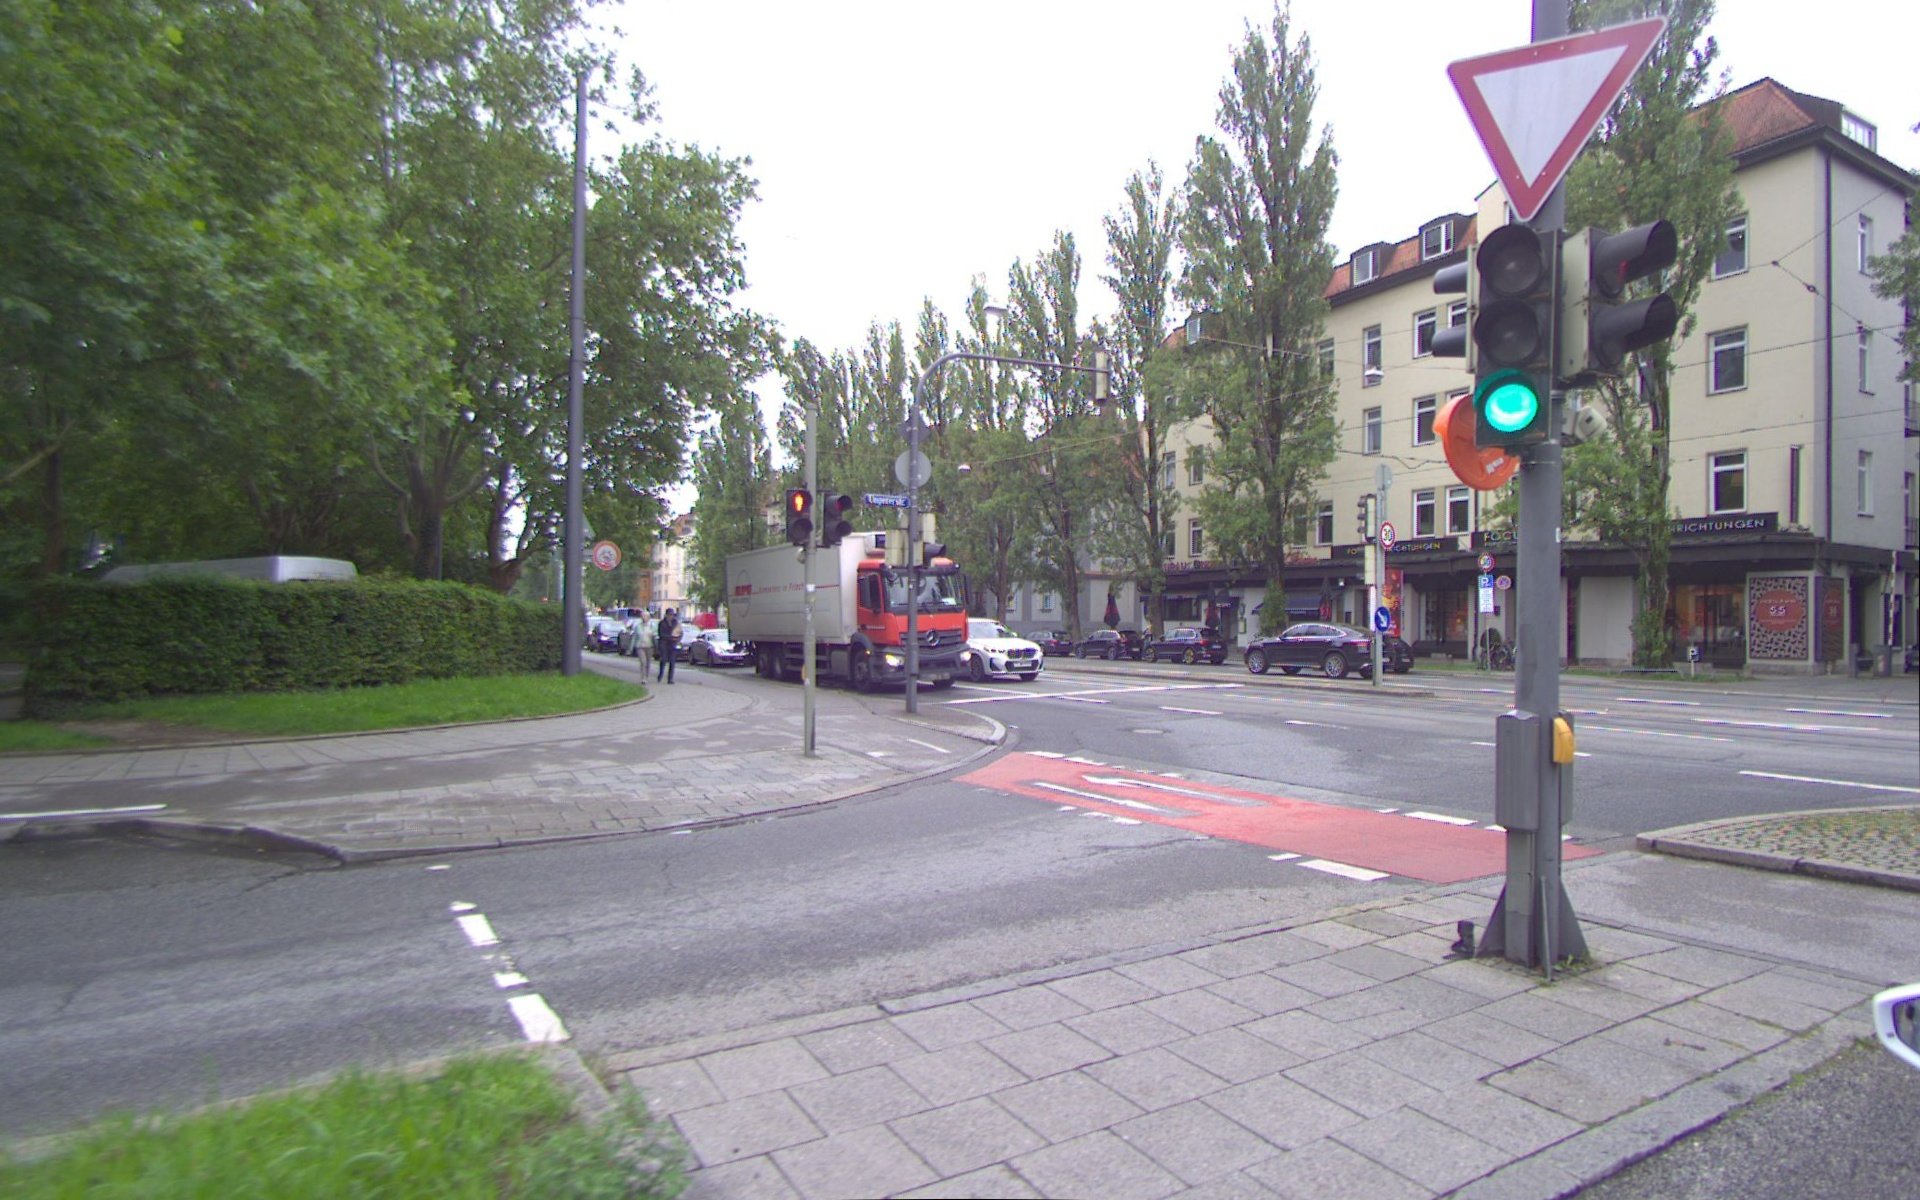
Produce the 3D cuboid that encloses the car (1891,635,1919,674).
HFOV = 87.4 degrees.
[{"bbox_3d":[37.479,2.085,38.536,3.959,1.461,1.715,1,-2,-34],"label":"car"}]

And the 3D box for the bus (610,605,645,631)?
[{"bbox_3d":[-49.412,2.604,149.162,2.881,3.441,10.721,2,0,-29],"label":"bus"}]

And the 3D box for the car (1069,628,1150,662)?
[{"bbox_3d":[7.462,2.228,50.464,1.784,1.633,4.270,1,-2,-30],"label":"car"}]

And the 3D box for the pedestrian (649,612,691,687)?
[{"bbox_3d":[-6.657,1.125,23.071,0.681,1.685,0.653,2,-2,-43],"label":"pedestrian"}]

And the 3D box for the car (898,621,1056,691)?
[{"bbox_3d":[0.340,1.439,27.114,1.901,1.705,4.846,1,-2,-33],"label":"car"}]

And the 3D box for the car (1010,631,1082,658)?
[{"bbox_3d":[4.699,2.444,55.569,1.784,1.417,4.346,1,-2,-30],"label":"car"}]

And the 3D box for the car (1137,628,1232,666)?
[{"bbox_3d":[10.160,2.107,45.761,1.707,1.633,4.435,1,-2,-30],"label":"car"}]

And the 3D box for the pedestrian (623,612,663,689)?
[{"bbox_3d":[-7.115,1.121,22.553,0.681,1.685,0.548,2,-2,-43],"label":"pedestrian"}]

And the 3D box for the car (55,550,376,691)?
[{"bbox_3d":[-13.237,0.394,17.977,4.536,2.040,2.001,-5,-1,11],"label":"car"}]

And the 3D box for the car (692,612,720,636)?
[{"bbox_3d":[-29.814,2.826,117.712,1.976,2.608,4.643,2,0,-29],"label":"car"}]

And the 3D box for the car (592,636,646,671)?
[{"bbox_3d":[-17.782,2.754,52.243,1.783,1.664,4.961,1,-2,-29],"label":"car"}]

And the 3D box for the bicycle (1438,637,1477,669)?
[{"bbox_3d":[19.330,2.050,39.019,1.869,1.200,0.492,2,-2,-34],"label":"bicycle"}]

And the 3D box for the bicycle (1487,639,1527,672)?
[{"bbox_3d":[20.269,2.046,37.195,1.869,1.200,0.492,2,-2,-34],"label":"bicycle"}]

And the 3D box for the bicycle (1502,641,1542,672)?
[{"bbox_3d":[20.572,2.062,36.767,1.869,1.096,0.492,2,-2,-34],"label":"bicycle"}]

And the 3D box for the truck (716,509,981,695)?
[{"bbox_3d":[-3.620,0.170,27.405,2.716,4.033,11.622,0,-1,-30],"label":"truck"}]

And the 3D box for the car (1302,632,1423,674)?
[{"bbox_3d":[15.110,1.968,37.892,1.786,1.485,3.963,2,-2,-33],"label":"car"}]

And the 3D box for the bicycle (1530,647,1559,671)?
[{"bbox_3d":[21.968,2.204,37.766,1.357,0.895,0.385,2,-2,-34],"label":"bicycle"}]

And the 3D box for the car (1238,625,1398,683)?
[{"bbox_3d":[10.587,1.548,30.062,1.721,1.569,4.541,1,-2,-29],"label":"car"}]
